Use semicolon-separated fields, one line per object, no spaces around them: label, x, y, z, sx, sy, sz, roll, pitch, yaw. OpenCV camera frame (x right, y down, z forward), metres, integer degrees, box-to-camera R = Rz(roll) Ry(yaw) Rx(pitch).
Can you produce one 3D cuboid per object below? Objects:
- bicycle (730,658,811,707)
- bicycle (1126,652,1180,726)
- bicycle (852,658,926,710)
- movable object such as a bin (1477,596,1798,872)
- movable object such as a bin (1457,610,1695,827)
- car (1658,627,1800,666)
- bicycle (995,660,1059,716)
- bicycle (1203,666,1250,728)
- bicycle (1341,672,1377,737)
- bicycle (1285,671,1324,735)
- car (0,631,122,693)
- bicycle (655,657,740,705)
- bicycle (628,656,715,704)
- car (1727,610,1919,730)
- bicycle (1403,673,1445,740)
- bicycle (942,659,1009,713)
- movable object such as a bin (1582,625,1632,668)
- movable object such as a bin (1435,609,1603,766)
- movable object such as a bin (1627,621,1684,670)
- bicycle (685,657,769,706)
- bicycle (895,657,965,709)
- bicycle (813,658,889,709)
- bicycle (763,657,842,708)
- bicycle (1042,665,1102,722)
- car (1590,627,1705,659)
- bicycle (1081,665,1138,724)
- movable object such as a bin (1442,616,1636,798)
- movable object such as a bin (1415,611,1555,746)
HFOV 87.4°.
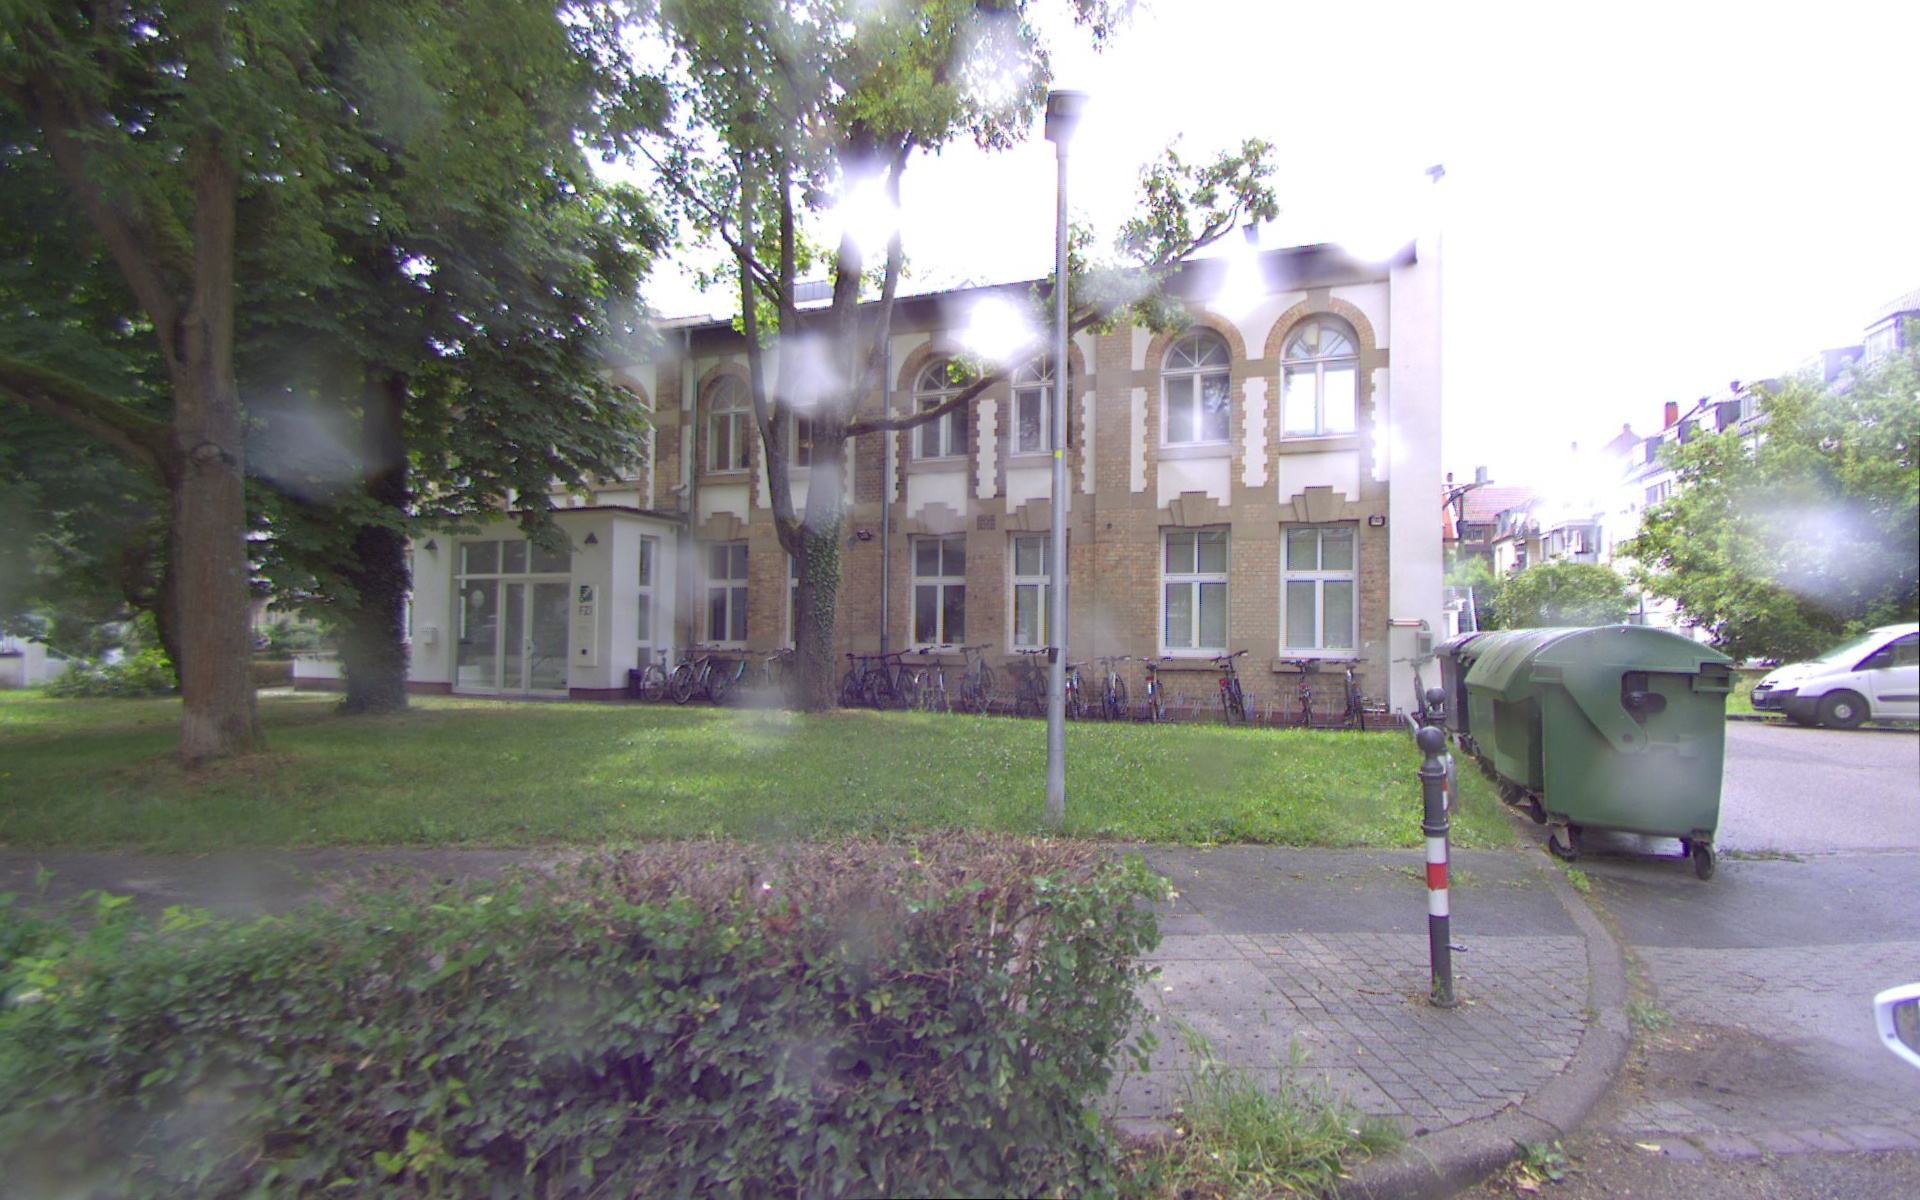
bicycle;-3.536;1.528;18.936;0.444;0.810;2.056;1;-1;22
bicycle;3.156;1.409;16.308;0.444;1.051;2.056;1;-1;22
bicycle;-1.237;1.475;18.031;0.444;0.810;2.056;1;-1;22
movable object such as a bin;4.239;0.756;6.517;1.386;1.490;1.560;1;-1;21
movable object such as a bin;4.780;0.850;7.973;1.337;1.490;1.465;1;-1;21
car;29.442;1.786;38.604;3.922;1.372;1.791;-2;-3;21
bicycle;1.173;1.469;17.120;0.444;0.810;2.056;1;-1;22
bicycle;4.209;1.494;15.800;0.444;0.810;2.056;1;-1;22
bicycle;6.036;1.546;15.182;0.444;0.810;2.056;1;-1;22
bicycle;5.286;1.542;15.365;0.444;0.810;2.056;1;-1;22
car;-25.292;1.676;27.261;1.876;1.542;4.140;0;-3;-6
bicycle;-5.073;1.552;19.545;0.444;0.810;2.056;1;-1;22
bicycle;-5.649;1.552;19.790;0.444;0.810;2.056;1;-1;22
car;16.936;1.240;17.885;4.859;2.040;1.999;0;-2;25
bicycle;6.813;1.531;14.803;0.444;0.810;2.056;1;-1;22
bicycle;0.302;1.474;17.506;0.444;0.810;2.056;1;-1;22
movable object such as a bin;21.130;1.509;32.834;1.155;1.335;1.055;1;-1;21
movable object such as a bin;5.839;0.870;10.619;1.337;1.490;1.365;1;-1;21
movable object such as a bin;22.323;1.436;32.279;1.254;1.503;1.101;1;-1;21
bicycle;-4.438;1.535;19.279;0.444;0.810;2.056;1;-1;22
bicycle;-0.501;1.446;17.840;0.444;0.810;2.056;1;-1;22
bicycle;-1.956;1.493;18.320;0.444;0.810;2.056;1;-1;22
bicycle;-2.890;1.509;18.680;0.444;0.810;2.056;1;-1;22
bicycle;1.900;1.528;16.779;0.444;0.810;2.056;1;-1;22
car;31.960;2.015;46.802;4.029;1.474;1.834;-1;-3;18
bicycle;2.487;1.527;16.559;0.444;0.810;2.056;1;-1;22
movable object such as a bin;5.299;0.923;9.340;1.337;1.490;1.352;1;-1;21
movable object such as a bin;6.340;0.911;12.248;1.337;1.490;1.365;1;-1;21
